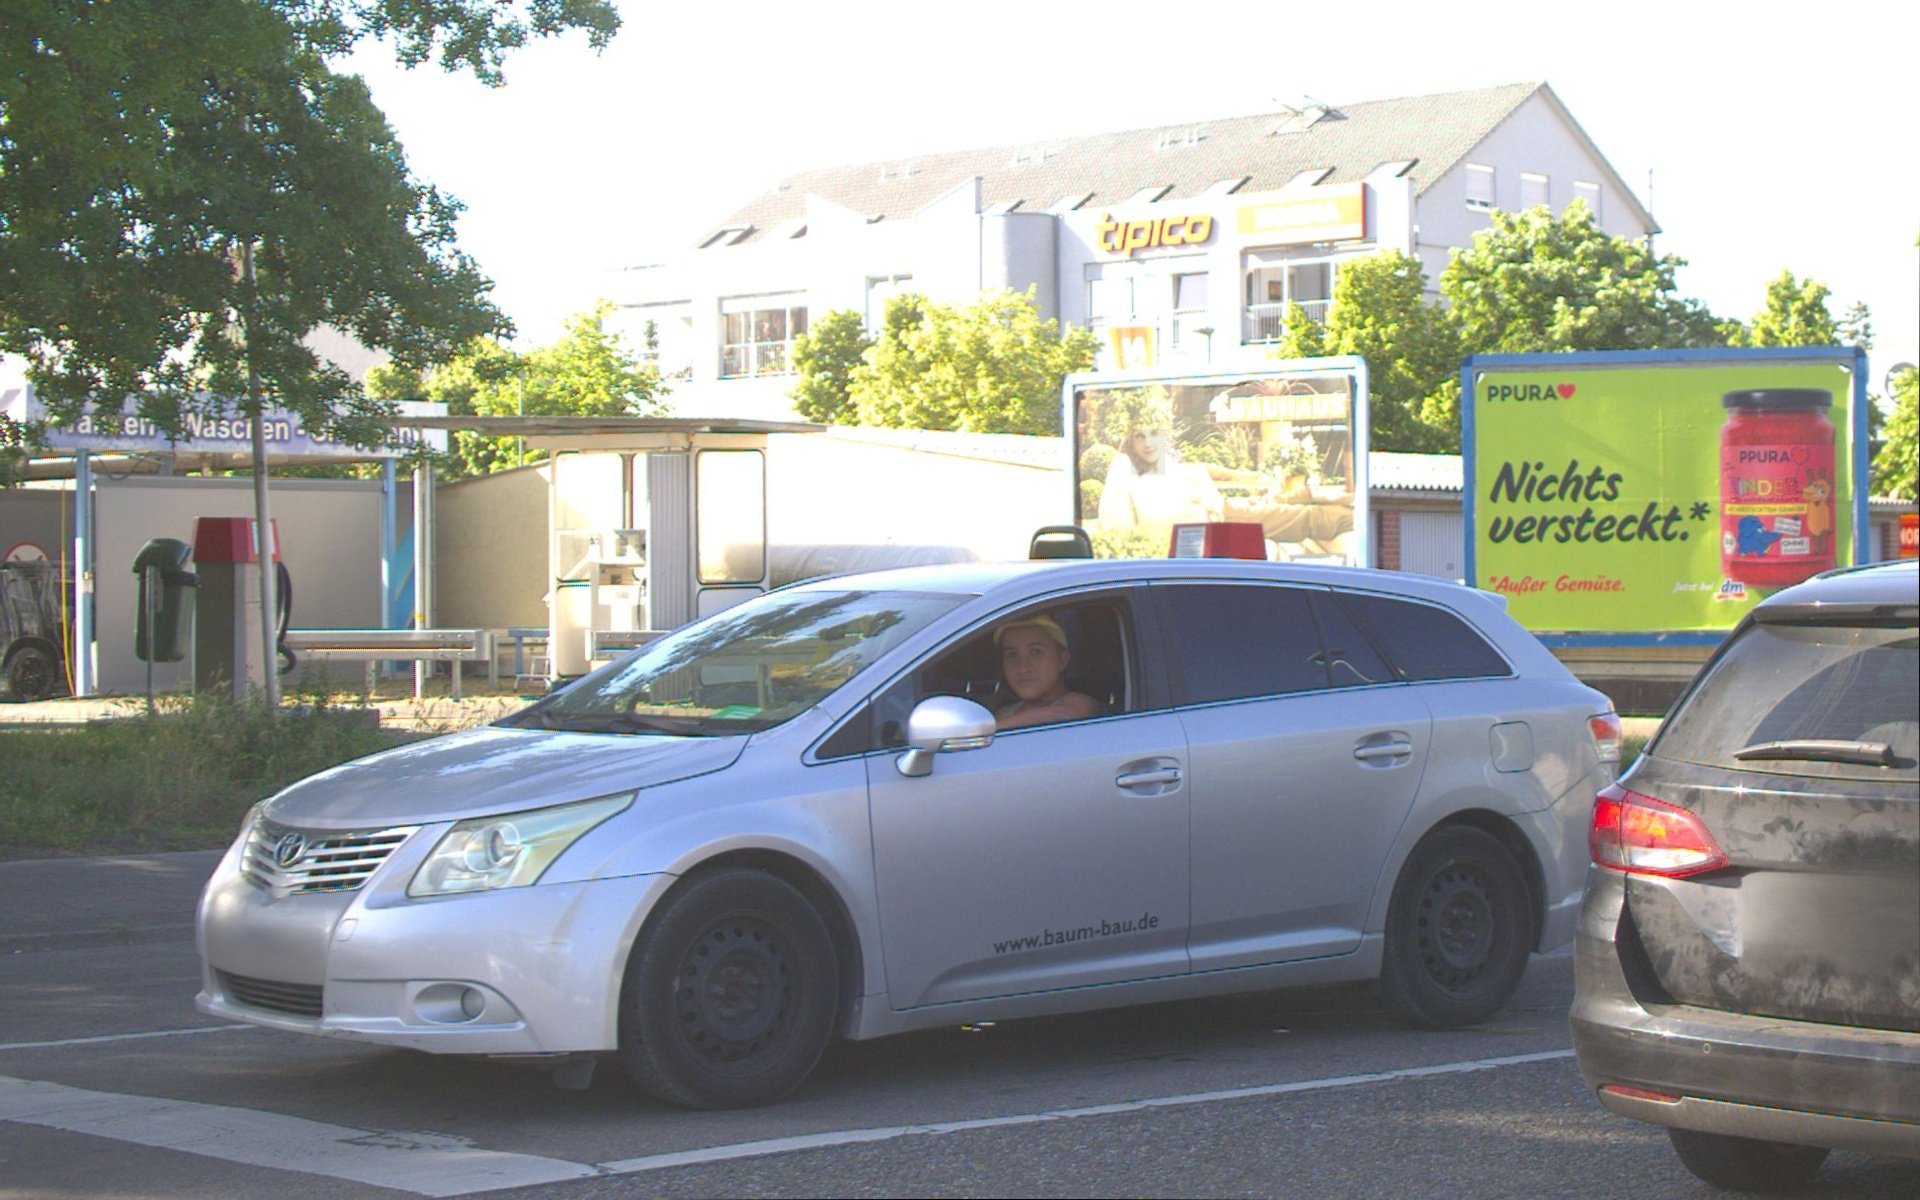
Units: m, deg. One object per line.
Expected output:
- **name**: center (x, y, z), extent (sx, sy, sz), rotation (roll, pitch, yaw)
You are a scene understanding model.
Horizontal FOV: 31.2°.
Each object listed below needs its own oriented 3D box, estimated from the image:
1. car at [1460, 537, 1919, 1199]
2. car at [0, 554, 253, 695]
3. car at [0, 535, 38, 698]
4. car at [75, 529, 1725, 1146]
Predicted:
- **car**: center (3.122, 0.628, 8.151), extent (1.766, 1.486, 4.280), rotation (1, 1, 41)
- **car**: center (-10.768, 0.321, 41.504), extent (1.998, 1.601, 3.990), rotation (-1, -2, 39)
- **car**: center (-9.330, 0.092, 27.778), extent (1.755, 1.371, 3.996), rotation (0, -2, 17)
- **car**: center (-0.007, 0.563, 10.493), extent (4.875, 1.484, 1.842), rotation (-1, 0, -37)
